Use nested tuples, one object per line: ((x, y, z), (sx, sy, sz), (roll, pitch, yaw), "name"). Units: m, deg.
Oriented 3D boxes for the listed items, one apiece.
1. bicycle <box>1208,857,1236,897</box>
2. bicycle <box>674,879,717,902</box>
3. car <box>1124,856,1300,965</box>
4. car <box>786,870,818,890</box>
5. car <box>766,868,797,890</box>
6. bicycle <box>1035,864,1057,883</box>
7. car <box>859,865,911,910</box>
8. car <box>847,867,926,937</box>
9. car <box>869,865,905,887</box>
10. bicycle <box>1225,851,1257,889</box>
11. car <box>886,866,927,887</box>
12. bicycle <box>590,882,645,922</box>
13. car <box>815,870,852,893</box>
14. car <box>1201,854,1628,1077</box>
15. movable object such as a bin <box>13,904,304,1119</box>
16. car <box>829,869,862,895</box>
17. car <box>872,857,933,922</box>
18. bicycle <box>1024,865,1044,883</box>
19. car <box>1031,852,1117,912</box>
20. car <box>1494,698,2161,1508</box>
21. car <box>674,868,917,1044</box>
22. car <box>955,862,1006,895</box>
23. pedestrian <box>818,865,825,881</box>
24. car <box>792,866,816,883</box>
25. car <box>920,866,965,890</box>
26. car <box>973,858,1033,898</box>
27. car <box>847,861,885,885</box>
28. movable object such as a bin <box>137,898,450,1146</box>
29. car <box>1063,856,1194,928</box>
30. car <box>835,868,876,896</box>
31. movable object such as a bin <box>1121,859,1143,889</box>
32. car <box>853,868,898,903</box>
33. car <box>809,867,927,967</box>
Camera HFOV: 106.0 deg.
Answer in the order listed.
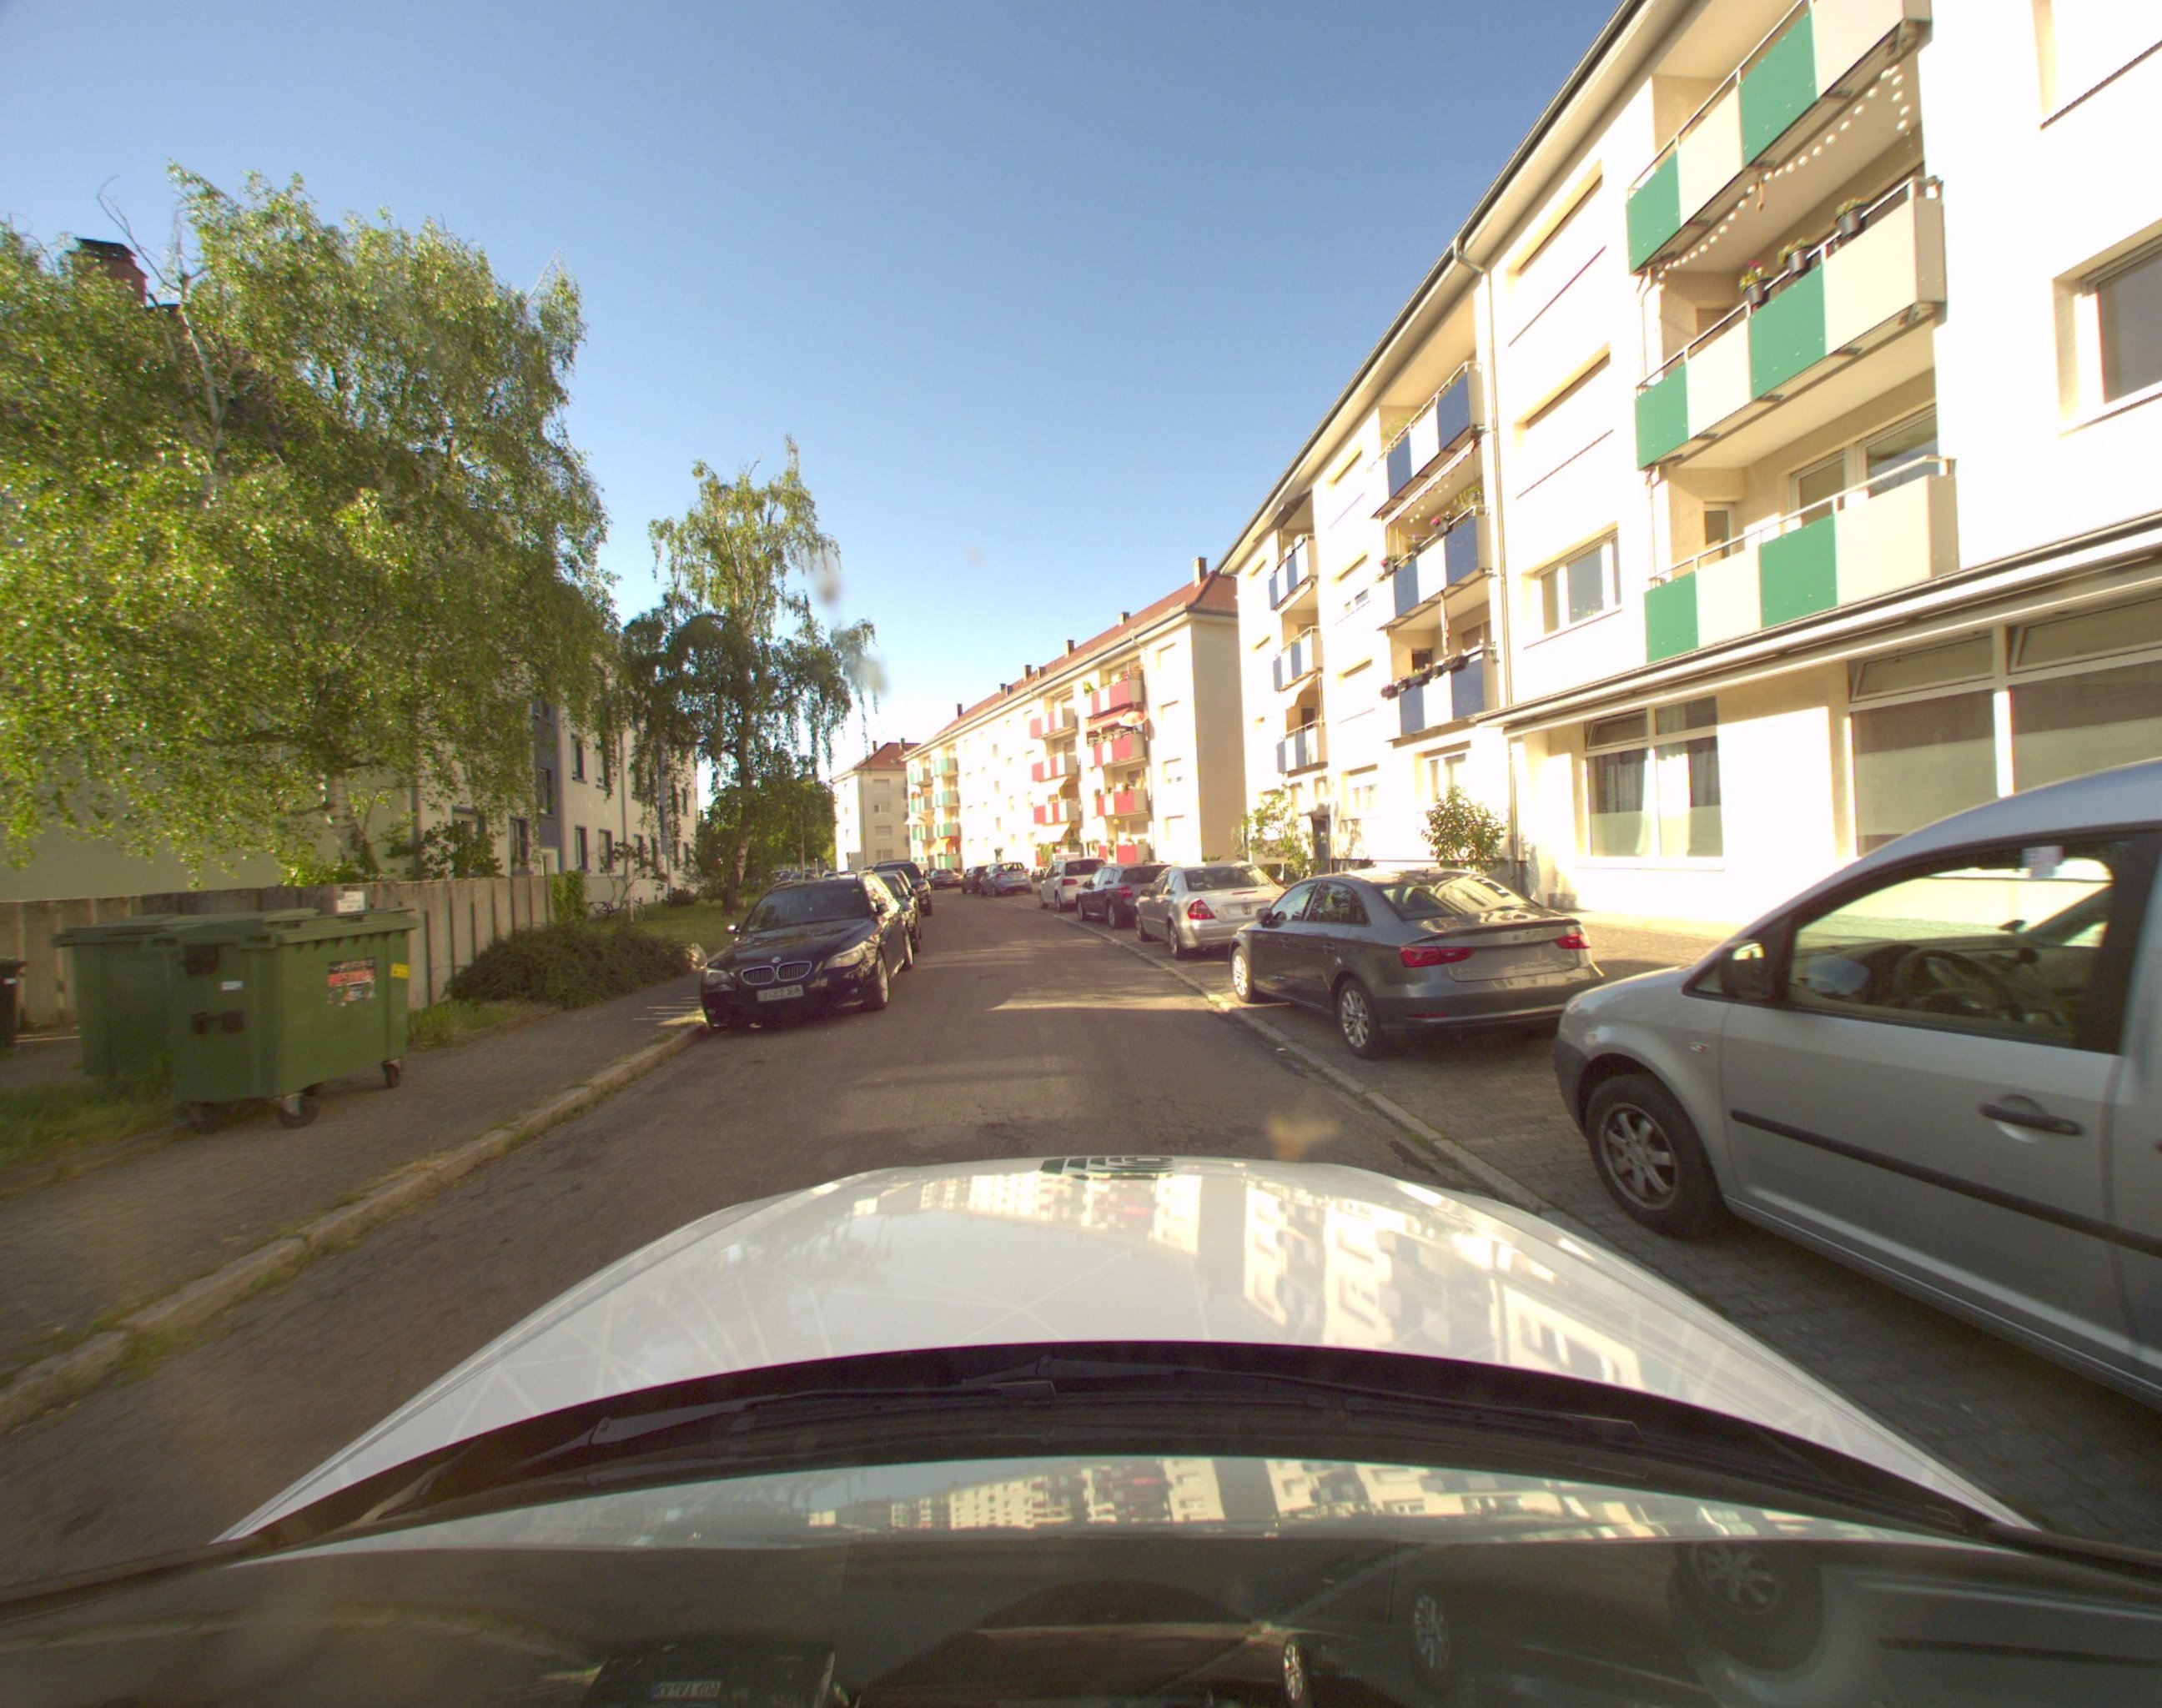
((4.529, 0.720, 26.186), (0.513, 1.202, 1.761), (-5, 0, 0), "bicycle")
((-18.957, 1.777, 40.058), (1.821, 1.078, 0.566), (0, -1, -12), "bicycle")
((2.003, 0.807, 13.902), (1.676, 1.447, 4.712), (-3, 0, -7), "car")
((-22.862, 2.113, 66.636), (1.669, 1.443, 3.833), (-5, 0, -31), "car")
((-27.837, 2.344, 75.662), (1.909, 1.855, 4.153), (-3, -1, -31), "car")
((-2.070, 1.139, 47.900), (0.620, 0.978, 1.881), (-6, 3, -23), "bicycle")
((-7.703, 1.263, 31.759), (1.698, 1.561, 4.133), (-2, -1, -17), "car")
((-4.842, 1.125, 20.661), (1.556, 1.442, 3.954), (-6, 0, -10), "car")
((-15.657, 1.780, 65.563), (1.692, 1.587, 3.973), (-4, 0, -30), "car")
((5.327, 0.509, 27.219), (0.513, 1.202, 1.831), (-5, 0, -3), "bicycle")
((-13.219, 1.728, 61.526), (1.748, 1.431, 4.315), (-5, 0, -29), "car")
((-14.768, 1.521, 25.976), (1.413, 1.152, 0.413), (-4, 0, -19), "bicycle")
((-17.515, 1.934, 57.460), (1.753, 1.431, 4.559), (-6, 1, -26), "car")
((2.641, 0.757, 7.804), (1.677, 1.407, 4.532), (-3, 0, -8), "car")
((-6.673, 1.099, 5.952), (1.215, 1.380, 0.767), (-2, 0, 1), "movable object such as a bin")
((-15.291, 1.780, 52.692), (1.485, 1.477, 3.603), (-7, 1, -23), "car")
((-5.644, 1.074, 25.685), (1.557, 1.714, 4.317), (-6, 0, -13), "car")
((-2.730, 1.164, 47.639), (0.500, 1.019, 1.827), (-5, 0, -23), "bicycle")
((-0.326, 0.890, 26.431), (1.696, 1.655, 4.368), (-4, -1, -14), "car")
((3.214, 0.495, 2.128), (1.745, 1.823, 4.123), (-5, 0, -6), "car")
((-3.169, 1.000, 10.065), (1.676, 1.452, 4.610), (-6, 0, -6), "car")
((-5.387, 1.284, 43.361), (1.742, 1.508, 3.858), (-6, 1, -20), "car")
((-30.051, 2.161, 94.353), (0.657, 1.815, 0.610), (-5, 0, -21), "pedestrian")
((-31.620, 2.372, 92.876), (1.777, 1.739, 4.054), (-5, 0, -30), "car")
((-9.086, 1.572, 53.171), (1.694, 1.363, 4.204), (-5, 1, -25), "car")
((-3.740, 1.103, 38.566), (1.772, 1.635, 4.013), (-5, 1, -20), "car")
((-18.479, 1.651, 69.940), (1.909, 1.855, 4.299), (-3, -1, -32), "car")
((-5.352, 1.060, 5.678), (0.774, 1.393, 1.415), (-3, 0, -3), "movable object such as a bin")
((0.999, 0.882, 19.825), (1.697, 1.431, 4.662), (-4, -1, -15), "car")
((-13.205, 1.608, 47.551), (1.576, 1.464, 4.227), (-5, 1, -24), "car")
((1.887, 0.749, 30.120), (0.583, 1.056, 0.638), (-6, -2, -10), "movable object such as a bin")
((-10.431, 1.546, 41.113), (1.700, 1.389, 4.128), (-4, 2, -20), "car")
((-3.881, 1.057, 15.486), (1.678, 1.442, 4.265), (-6, 0, -10), "car")
